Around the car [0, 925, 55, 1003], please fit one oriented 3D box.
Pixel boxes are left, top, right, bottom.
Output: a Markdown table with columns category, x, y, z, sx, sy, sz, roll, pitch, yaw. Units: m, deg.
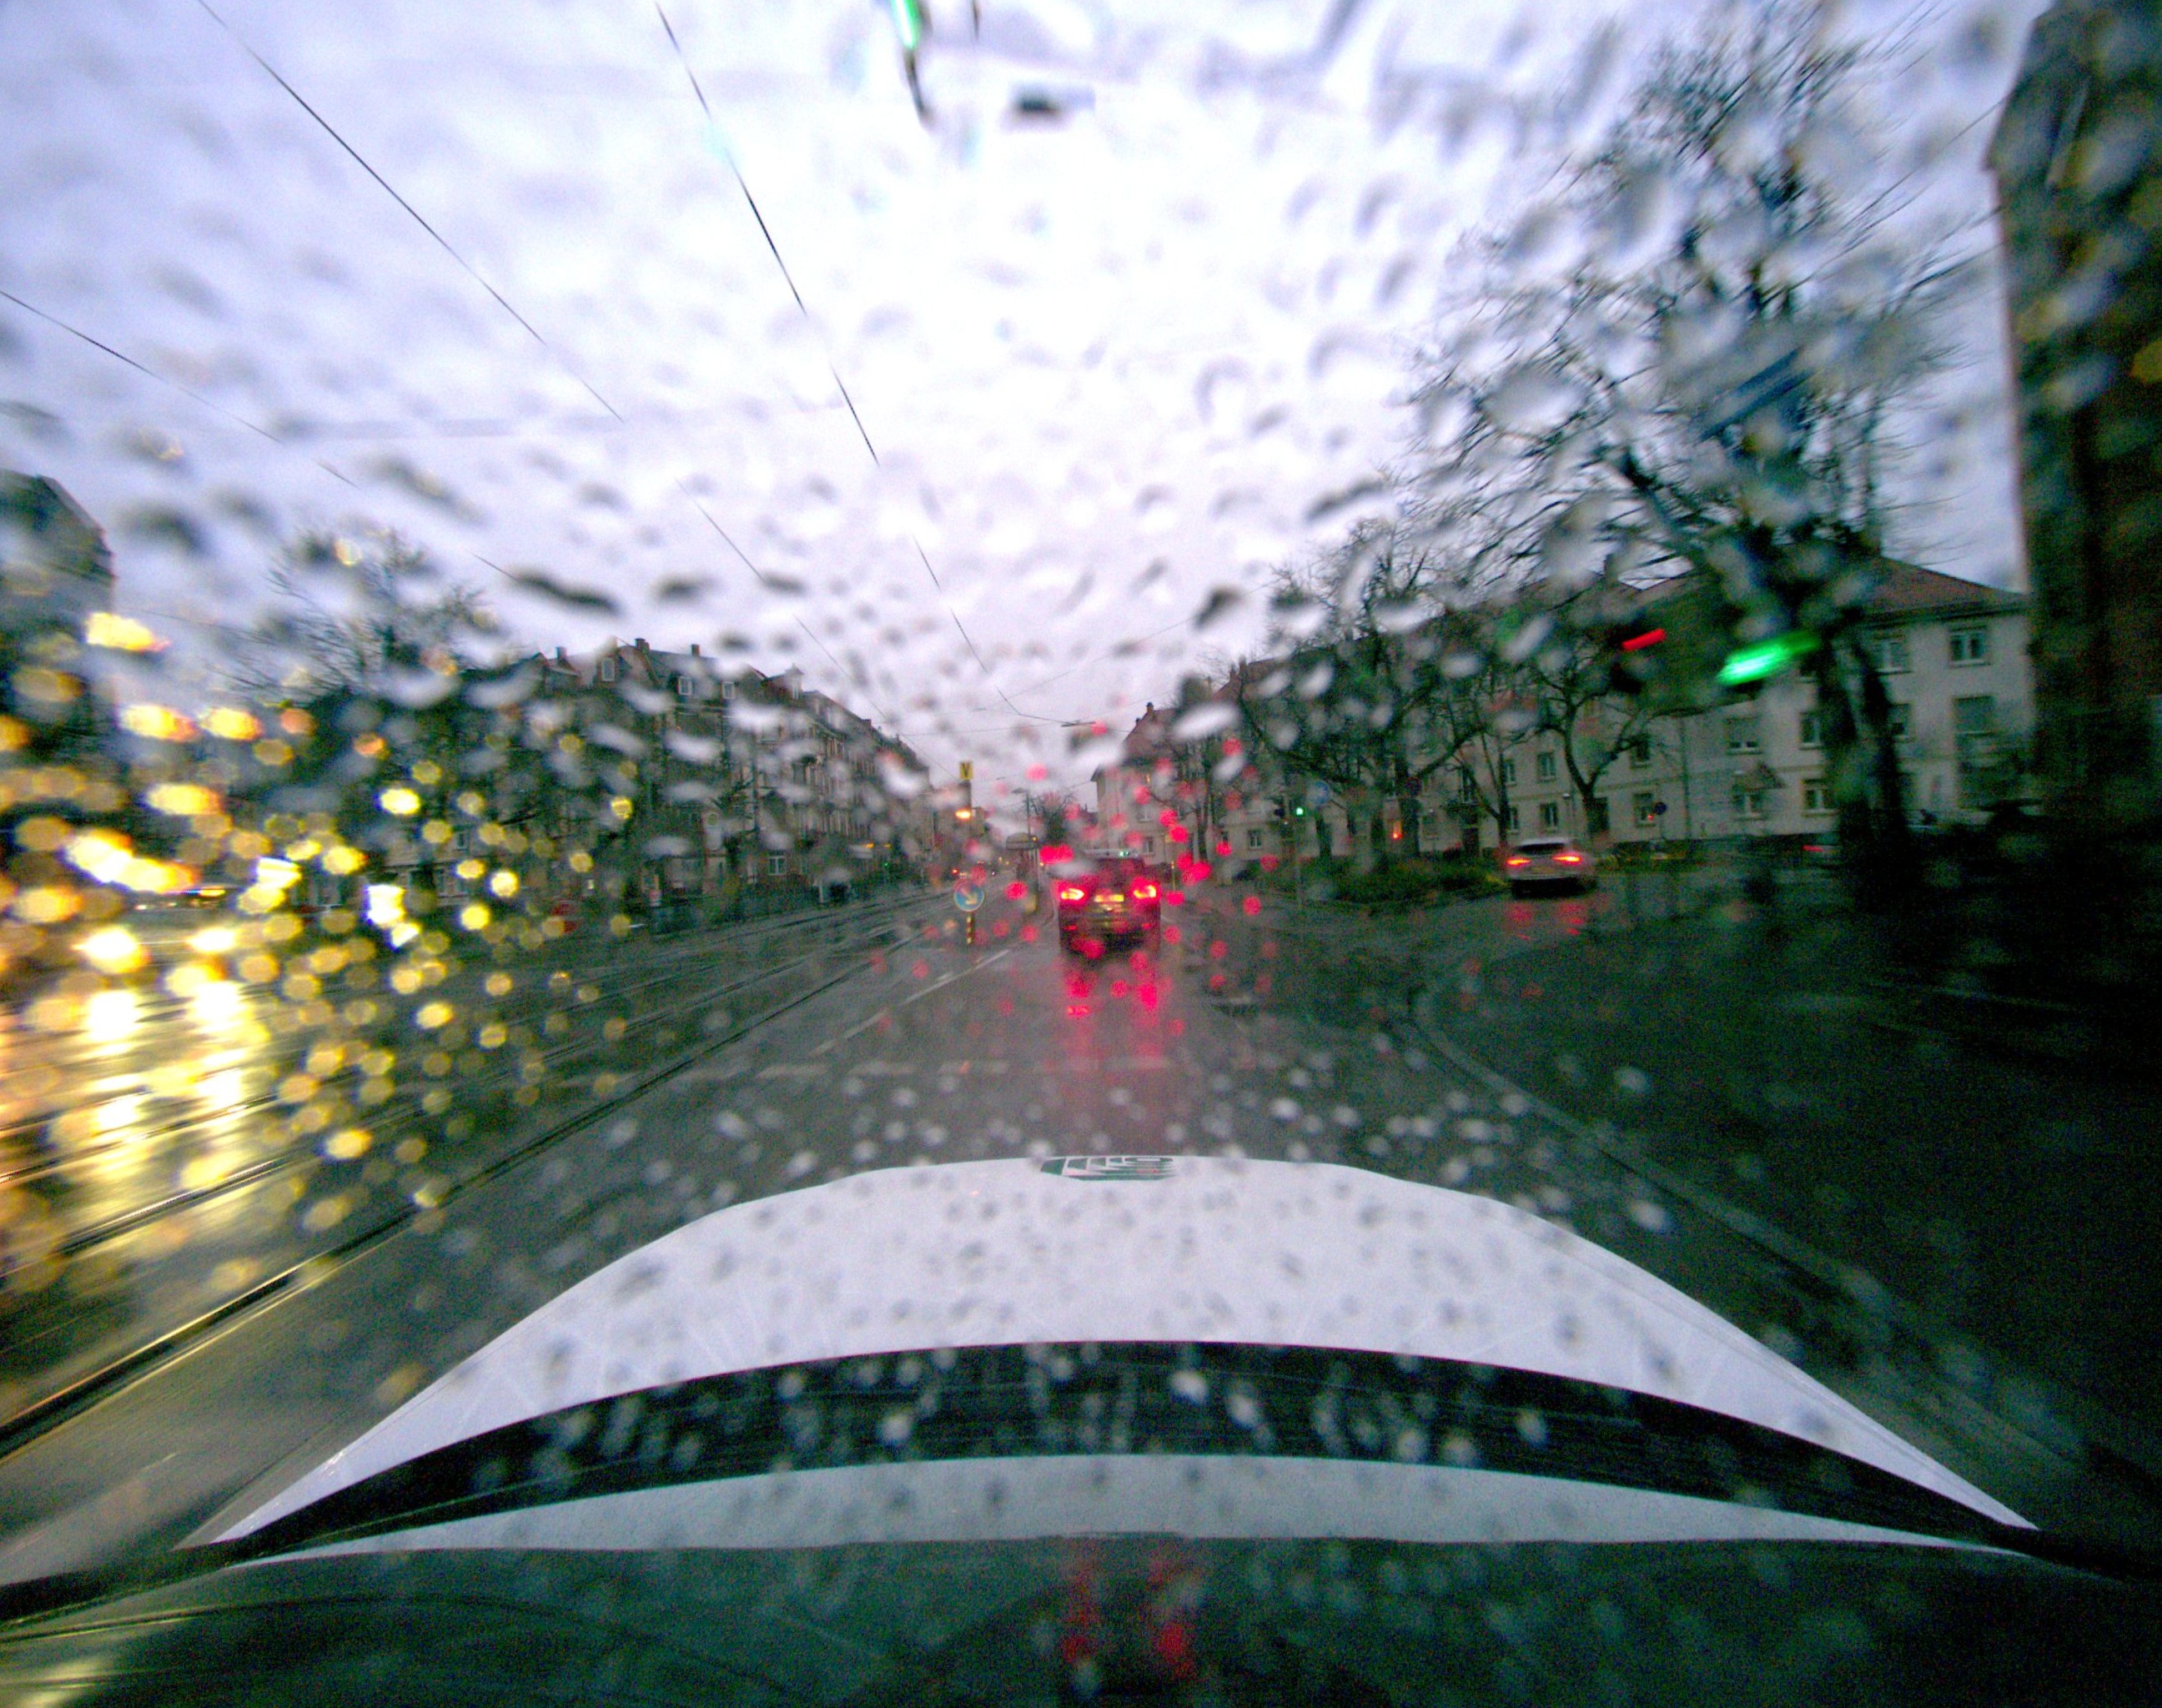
| category | x | y | z | sx | sy | sz | roll | pitch | yaw |
| --- | --- | --- | --- | --- | --- | --- | --- | --- | --- |
| car | -23.757 | 2.391 | 17.197 | 1.621 | 1.472 | 3.783 | 1 | -1 | -36 |

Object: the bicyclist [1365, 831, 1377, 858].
| category | x | y | z | sx | sy | sz | roll | pitch | yaw |
| --- | --- | --- | --- | --- | --- | --- | --- | --- | --- |
| bicyclist | 20.762 | -0.698 | 58.253 | 0.465 | 1.886 | 0.679 | -3 | -1 | -3 |

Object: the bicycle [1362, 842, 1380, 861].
| category | x | y | z | sx | sy | sz | roll | pitch | yaw |
| --- | --- | --- | --- | --- | --- | --- | --- | --- | --- |
| bicycle | 20.772 | -0.186 | 58.427 | 0.465 | 1.291 | 1.912 | -3 | -1 | -2 |

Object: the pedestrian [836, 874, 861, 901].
| category | x | y | z | sx | sy | sz | roll | pitch | yaw |
| --- | --- | --- | --- | --- | --- | --- | --- | --- | --- |
| pedestrian | -11.066 | 1.603 | 38.717 | 1.053 | 1.254 | 0.506 | 0 | -1 | -4 |

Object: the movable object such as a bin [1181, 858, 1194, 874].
| category | x | y | z | sx | sy | sz | roll | pitch | yaw |
| --- | --- | --- | --- | --- | --- | --- | --- | --- | --- |
| movable object such as a bin | 8.597 | 0.962 | 65.722 | 0.843 | 1.252 | 0.525 | -1 | -1 | 40 |

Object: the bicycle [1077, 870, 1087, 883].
| category | x | y | z | sx | sy | sz | roll | pitch | yaw |
| --- | --- | --- | --- | --- | --- | --- | --- | --- | --- |
| bicycle | 0.097 | 1.803 | 65.164 | 0.729 | 1.007 | 1.762 | -2 | -1 | -2 |

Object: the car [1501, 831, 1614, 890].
| category | x | y | z | sx | sy | sz | roll | pitch | yaw |
| --- | --- | --- | --- | --- | --- | --- | --- | --- | --- |
| car | 13.824 | 0.207 | 23.476 | 1.875 | 1.510 | 4.782 | -1 | -1 | 42 |

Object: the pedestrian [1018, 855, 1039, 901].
| category | x | y | z | sx | sy | sz | roll | pitch | yaw |
| --- | --- | --- | --- | --- | --- | --- | --- | --- | --- |
| pedestrian | -2.243 | 1.032 | 34.904 | 0.851 | 1.956 | 0.570 | 0 | -1 | -2 |

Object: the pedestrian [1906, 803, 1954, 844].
| category | x | y | z | sx | sy | sz | roll | pitch | yaw |
| --- | --- | --- | --- | --- | --- | --- | --- | --- | --- |
| pedestrian | 35.982 | -1.266 | 34.542 | 1.110 | 1.642 | 0.763 | -3 | -1 | 15 |

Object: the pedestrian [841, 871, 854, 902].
| category | x | y | z | sx | sy | sz | roll | pitch | yaw |
| --- | --- | --- | --- | --- | --- | --- | --- | --- | --- |
| pedestrian | -10.802 | 1.500 | 37.622 | 0.472 | 1.403 | 0.453 | 0 | -1 | -3 |

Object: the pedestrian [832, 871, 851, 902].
| category | x | y | z | sx | sy | sz | roll | pitch | yaw |
| --- | --- | --- | --- | --- | --- | --- | --- | --- | --- |
| pedestrian | -10.911 | 1.492 | 37.103 | 0.682 | 1.403 | 0.577 | 0 | -1 | -3 |

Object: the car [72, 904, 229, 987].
| category | x | y | z | sx | sy | sz | roll | pitch | yaw |
| --- | --- | --- | --- | --- | --- | --- | --- | --- | --- |
| car | -22.232 | 2.086 | 19.642 | 1.947 | 1.583 | 4.291 | 0 | -1 | -42 |

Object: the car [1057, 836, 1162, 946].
| category | x | y | z | sx | sy | sz | roll | pitch | yaw |
| --- | --- | --- | --- | --- | --- | --- | --- | --- | --- |
| car | 0.450 | 0.656 | 15.824 | 1.797 | 1.871 | 4.015 | 0 | -1 | -1 |

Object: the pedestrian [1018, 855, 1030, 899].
| category | x | y | z | sx | sy | sz | roll | pitch | yaw |
| --- | --- | --- | --- | --- | --- | --- | --- | --- | --- |
| pedestrian | -2.621 | 1.042 | 37.434 | 0.556 | 1.987 | 0.570 | 0 | -1 | -2 |

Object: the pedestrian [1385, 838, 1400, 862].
| category | x | y | z | sx | sy | sz | roll | pitch | yaw |
| --- | --- | --- | --- | --- | --- | --- | --- | --- | --- |
| pedestrian | 22.285 | -0.294 | 58.217 | 0.692 | 1.660 | 0.706 | -3 | -1 | -43 |

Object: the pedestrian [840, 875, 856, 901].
| category | x | y | z | sx | sy | sz | roll | pitch | yaw |
| --- | --- | --- | --- | --- | --- | --- | --- | --- | --- |
| pedestrian | -11.219 | 1.632 | 39.245 | 0.651 | 1.218 | 0.516 | 0 | -1 | -3 |

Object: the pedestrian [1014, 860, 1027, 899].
| category | x | y | z | sx | sy | sz | roll | pitch | yaw |
| --- | --- | --- | --- | --- | --- | --- | --- | --- | --- |
| pedestrian | -2.705 | 1.140 | 36.370 | 0.556 | 1.741 | 0.570 | 0 | -1 | -2 |

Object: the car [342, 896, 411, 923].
| category | x | y | z | sx | sy | sz | roll | pitch | yaw |
| --- | --- | --- | --- | --- | --- | --- | --- | --- | --- |
| car | -52.942 | 4.166 | 61.193 | 3.956 | 1.706 | 2.009 | -4 | -1 | 16 |

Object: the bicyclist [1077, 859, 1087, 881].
| category | x | y | z | sx | sy | sz | roll | pitch | yaw |
| --- | --- | --- | --- | --- | --- | --- | --- | --- | --- |
| bicyclist | 0.077 | 1.304 | 65.205 | 0.728 | 1.736 | 0.765 | -2 | -1 | -2 |

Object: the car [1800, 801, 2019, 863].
| category | x | y | z | sx | sy | sz | roll | pitch | yaw |
| --- | --- | --- | --- | --- | --- | --- | --- | --- | --- |
| car | 23.990 | -0.603 | 23.727 | 4.304 | 1.729 | 1.811 | 0 | -1 | 6 |
